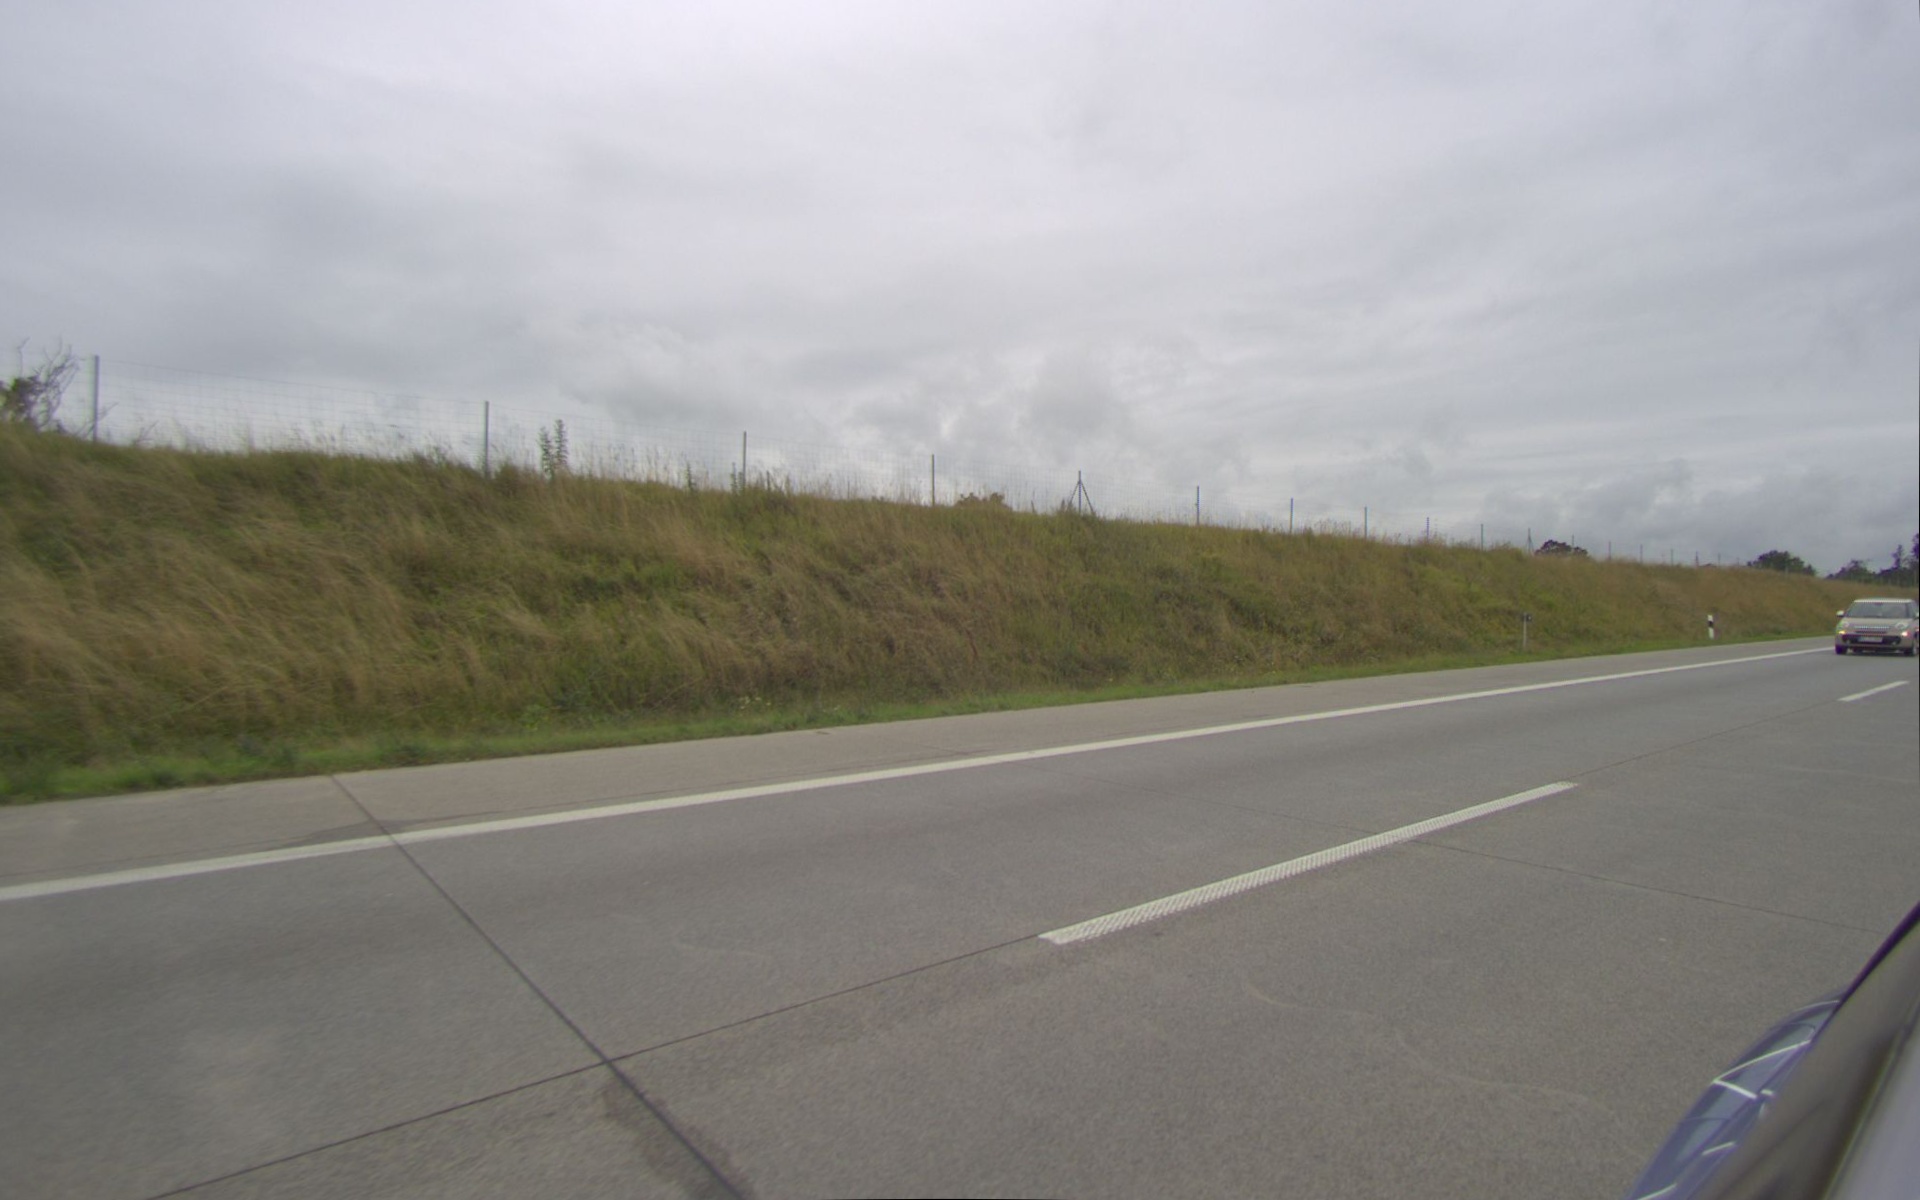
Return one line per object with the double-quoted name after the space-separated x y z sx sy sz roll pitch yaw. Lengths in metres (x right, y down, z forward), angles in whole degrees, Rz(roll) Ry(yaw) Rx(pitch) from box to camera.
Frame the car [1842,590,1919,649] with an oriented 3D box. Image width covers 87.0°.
27.663 0.574 29.874 4.489 1.625 1.789 1 -1 -40 "car"
